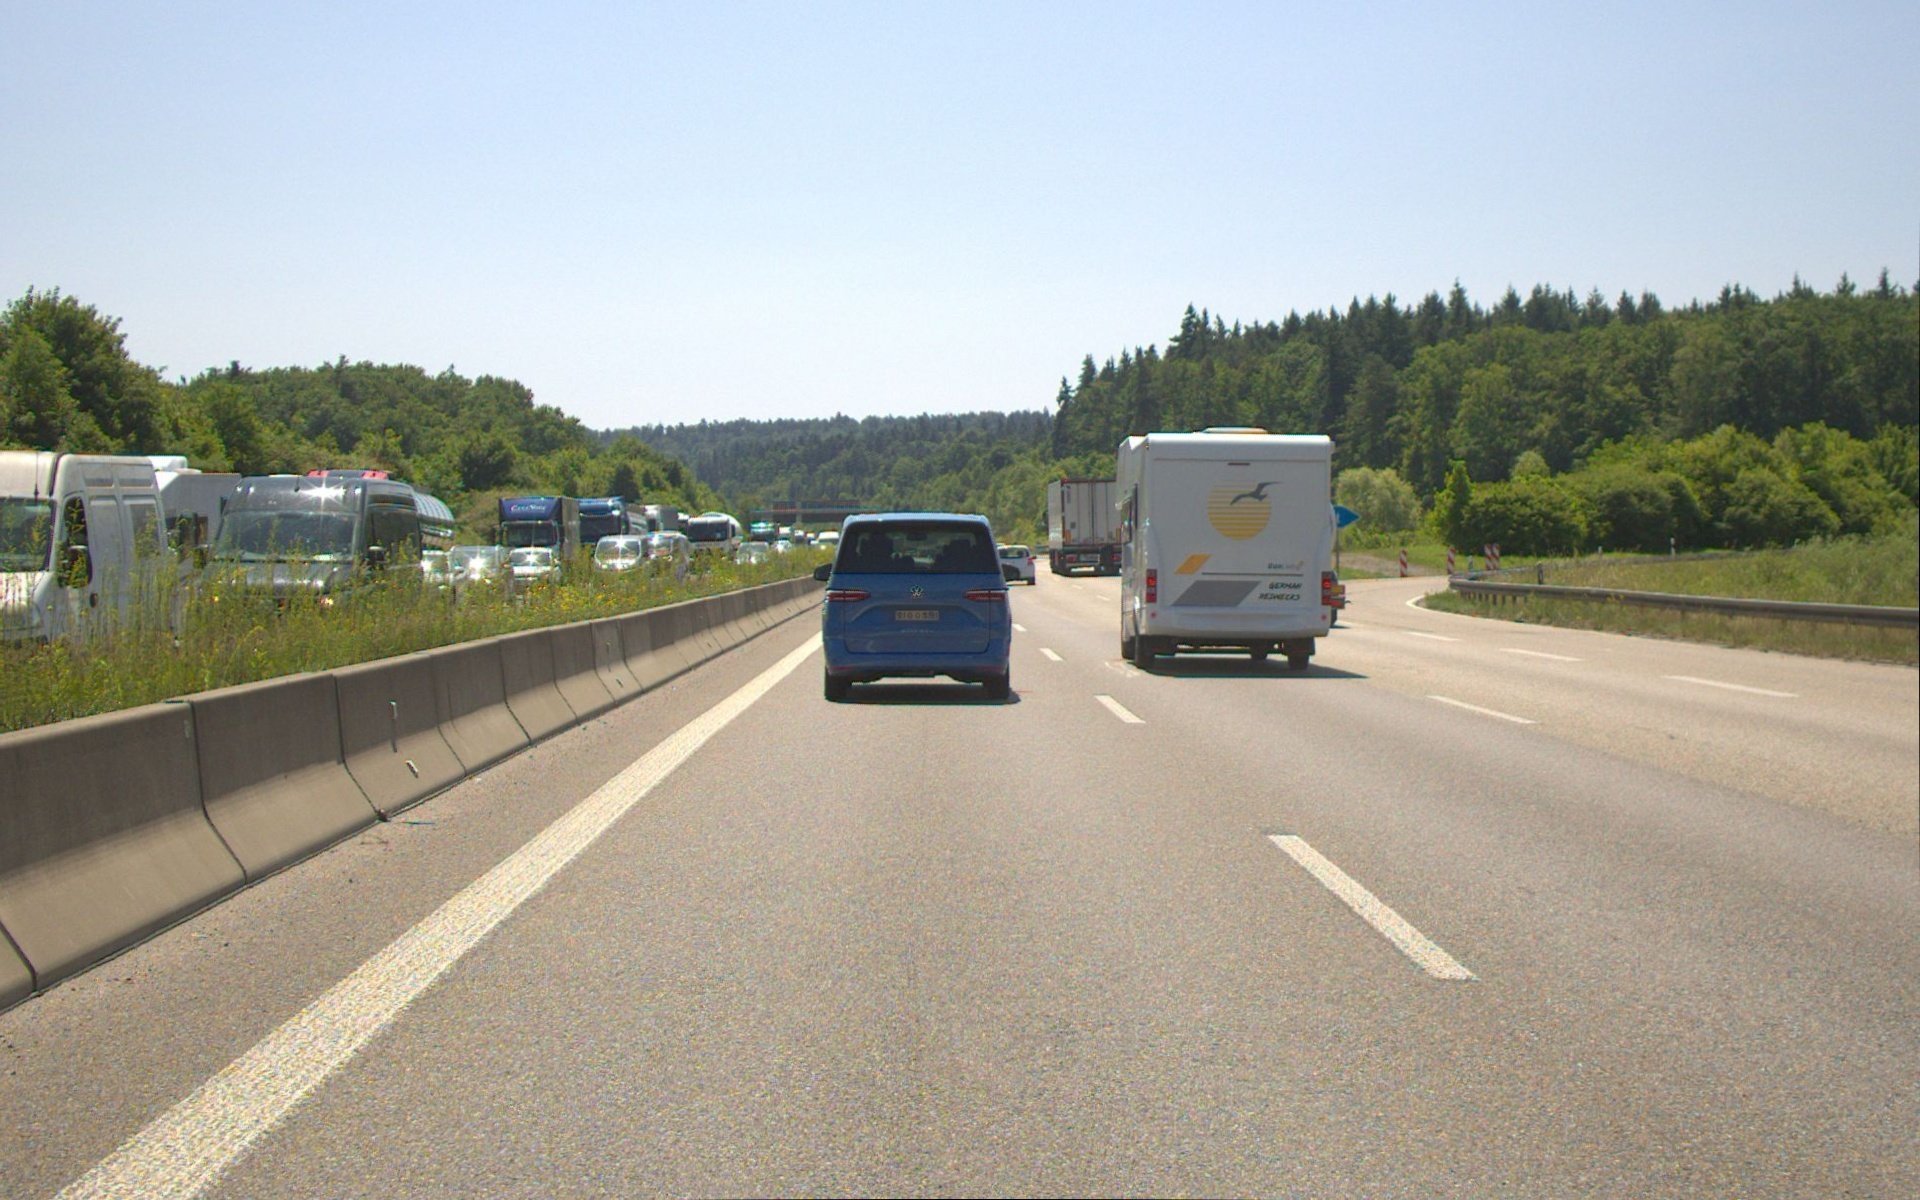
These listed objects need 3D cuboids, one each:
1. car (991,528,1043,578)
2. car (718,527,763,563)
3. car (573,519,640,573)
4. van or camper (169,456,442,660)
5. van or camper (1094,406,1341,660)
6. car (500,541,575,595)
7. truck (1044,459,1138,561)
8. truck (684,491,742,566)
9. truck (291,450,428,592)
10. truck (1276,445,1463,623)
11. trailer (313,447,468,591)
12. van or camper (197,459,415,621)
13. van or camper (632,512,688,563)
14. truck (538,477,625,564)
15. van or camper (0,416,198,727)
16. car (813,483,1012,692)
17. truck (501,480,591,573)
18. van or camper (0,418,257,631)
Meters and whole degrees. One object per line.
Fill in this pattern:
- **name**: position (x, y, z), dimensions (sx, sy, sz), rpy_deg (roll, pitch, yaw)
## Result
- **car**: position (2.101, -1.733, 127.581), dimensions (1.818, 1.788, 3.894), rpy_deg (1, 1, -1)
- **car**: position (-9.921, -2.488, 155.340), dimensions (1.754, 1.578, 4.854), rpy_deg (0, 1, -1)
- **car**: position (-13.170, -2.016, 128.418), dimensions (2.023, 1.951, 5.095), rpy_deg (0, 1, -1)
- **van or camper**: position (-8.378, -0.549, 44.799), dimensions (2.297, 2.426, 7.284), rpy_deg (0, 1, -1)
- **van or camper**: position (3.286, -0.862, 45.558), dimensions (2.603, 3.068, 7.182), rpy_deg (1, 1, -1)
- **car**: position (-12.933, -0.998, 105.352), dimensions (1.754, 1.544, 4.189), rpy_deg (2, 1, 0)
- **truck**: position (5.517, -3.770, 146.214), dimensions (3.487, 4.156, 8.642), rpy_deg (1, 1, -1)
- **truck**: position (-13.530, -3.896, 188.680), dimensions (2.618, 3.877, 7.402), rpy_deg (-1, 0, 0)
- **truck**: position (-16.749, -2.179, 96.252), dimensions (2.783, 3.810, 6.032), rpy_deg (1, 1, -1)
- **truck**: position (8.712, -1.484, 74.081), dimensions (2.928, 3.562, 8.527), rpy_deg (-1, 2, 0)
- **trailer**: position (-16.944, -2.400, 103.098), dimensions (2.679, 3.936, 12.276), rpy_deg (-3, 1, -1)
- **van or camper**: position (-12.540, -1.139, 66.609), dimensions (2.545, 2.927, 8.131), rpy_deg (0, 1, 1)
- **van or camper**: position (-13.121, -2.709, 150.789), dimensions (1.993, 2.145, 5.956), rpy_deg (-2, 1, -1)
- **truck**: position (-18.249, -3.805, 166.091), dimensions (3.490, 4.023, 6.644), rpy_deg (1, 1, -1)
- **van or camper**: position (-8.508, -0.264, 30.645), dimensions (2.193, 2.497, 6.059), rpy_deg (0, 1, -1)
- **car**: position (-0.489, -0.173, 35.697), dimensions (1.909, 2.007, 4.000), rpy_deg (-1, 1, -1)
- **truck**: position (-16.931, -2.958, 141.020), dimensions (2.545, 3.662, 9.938), rpy_deg (0, 1, 0)
- **van or camper**: position (-12.606, -1.086, 51.179), dimensions (2.545, 2.927, 7.827), rpy_deg (0, 1, 1)
